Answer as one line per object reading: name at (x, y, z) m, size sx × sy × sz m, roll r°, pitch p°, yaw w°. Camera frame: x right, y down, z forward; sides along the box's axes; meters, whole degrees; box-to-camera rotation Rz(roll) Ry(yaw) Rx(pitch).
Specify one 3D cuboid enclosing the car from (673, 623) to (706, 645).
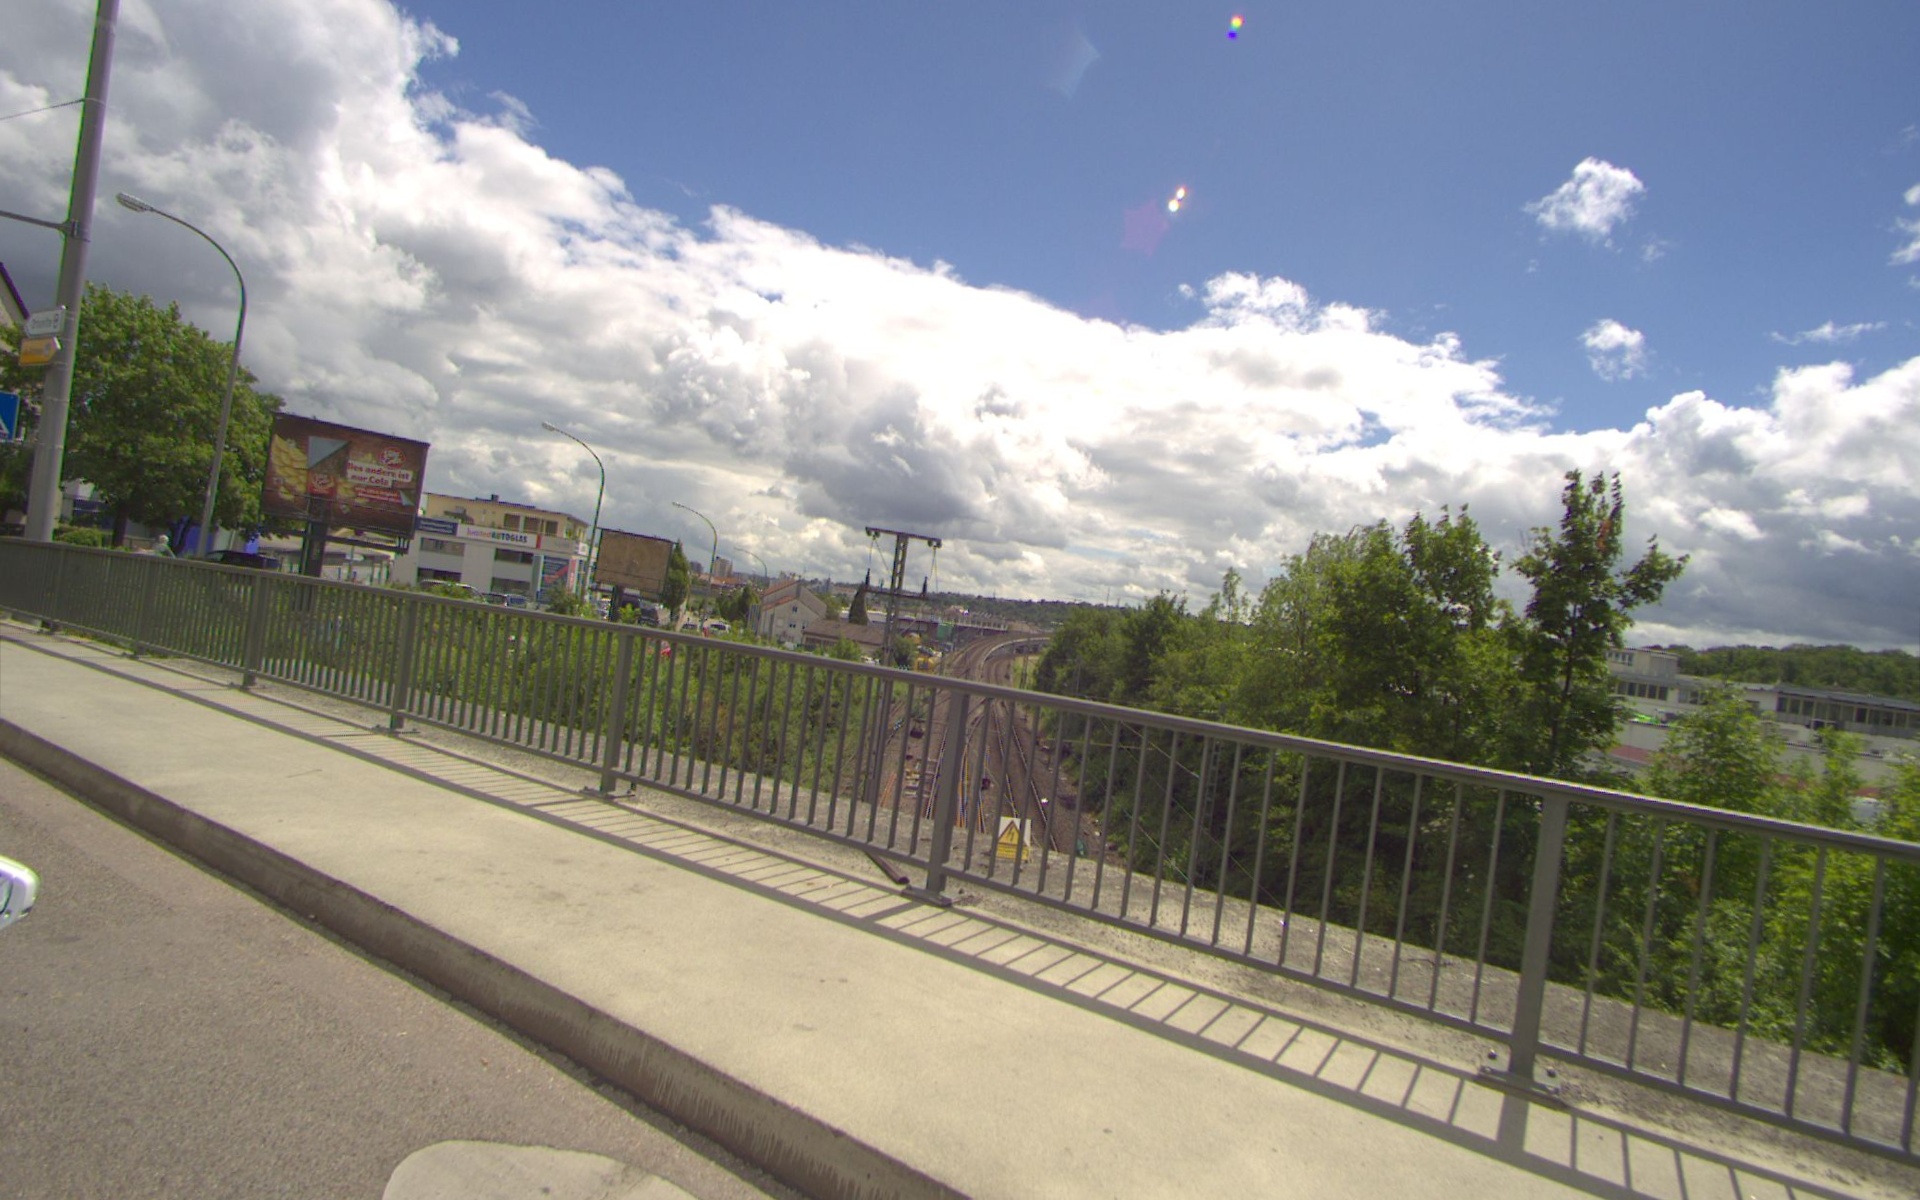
car at (-21.774, 2.755, 81.083) m, size 1.766 × 1.522 × 2.909 m, roll 6°, pitch -4°, yaw -2°

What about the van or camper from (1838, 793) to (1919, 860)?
van or camper at (47.375, 11.486, 50.722) m, size 1.892 × 2.719 × 5.316 m, roll 9°, pitch -4°, yaw 9°

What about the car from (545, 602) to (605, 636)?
car at (-21.273, 1.099, 55.767) m, size 1.680 × 1.495 × 3.962 m, roll 8°, pitch -3°, yaw 0°

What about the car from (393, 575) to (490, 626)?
car at (-22.189, 0.071, 43.245) m, size 1.680 × 1.696 × 4.313 m, roll 8°, pitch -3°, yaw 1°

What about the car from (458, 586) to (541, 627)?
car at (-22.175, 0.374, 48.673) m, size 1.680 × 1.503 × 4.578 m, roll 8°, pitch -3°, yaw 1°

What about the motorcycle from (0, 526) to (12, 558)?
motorcycle at (-42.230, -2.649, 43.086) m, size 0.903 × 1.330 × 2.238 m, roll 9°, pitch -3°, yaw 0°

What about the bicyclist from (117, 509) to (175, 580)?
bicyclist at (-23.176, -1.573, 28.676) m, size 0.675 × 1.846 × 1.080 m, roll 6°, pitch -3°, yaw -10°

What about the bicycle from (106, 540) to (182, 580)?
bicycle at (-23.199, -1.126, 28.647) m, size 0.678 × 0.888 × 2.100 m, roll 6°, pitch -4°, yaw -11°
